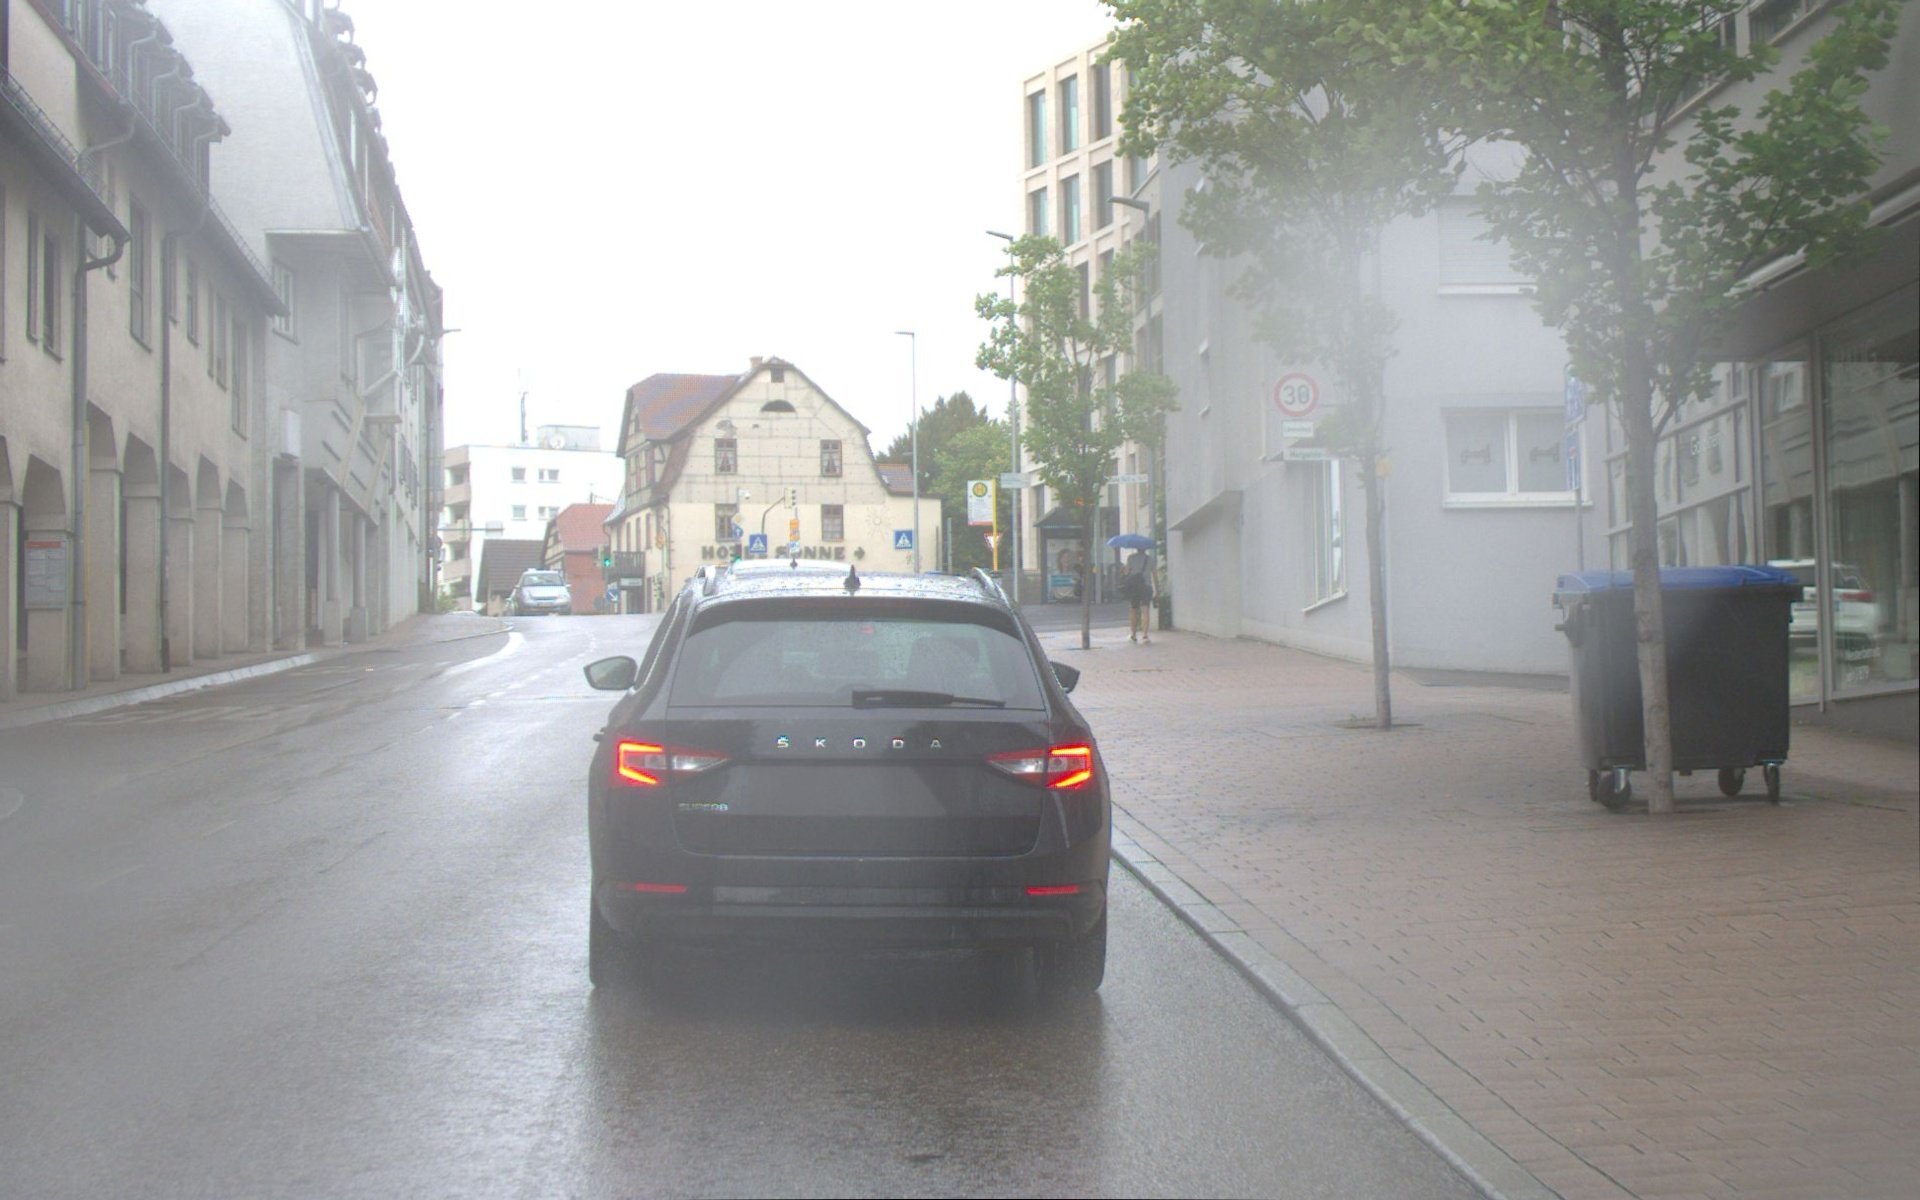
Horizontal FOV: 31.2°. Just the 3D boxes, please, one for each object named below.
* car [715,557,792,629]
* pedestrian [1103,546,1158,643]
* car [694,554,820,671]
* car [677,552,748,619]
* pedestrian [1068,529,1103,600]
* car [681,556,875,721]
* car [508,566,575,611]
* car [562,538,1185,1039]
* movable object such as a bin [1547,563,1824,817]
[{"bbox_3d":[-4.757,-0.175,78.863,1.680,1.555,4.001,-1,1,-4],"label":"car"},{"bbox_3d":[2.792,-0.087,56.433,0.736,1.537,1.038,-4,0,-1],"label":"pedestrian"},{"bbox_3d":[-2.911,0.153,48.936,1.680,1.555,4.001,-1,1,-4],"label":"car"},{"bbox_3d":[-7.637,-0.457,106.259,1.993,2.007,4.000,-1,1,-2],"label":"car"},{"bbox_3d":[3.443,-0.973,94.505,0.782,1.933,1.021,-2,0,-4],"label":"pedestrian"},{"bbox_3d":[-1.821,0.338,33.496,1.676,1.505,3.589,-1,1,-6],"label":"car"},{"bbox_3d":[-14.234,-0.410,117.021,1.677,1.505,3.588,-1,1,2],"label":"car"},{"bbox_3d":[-0.264,0.569,12.998,1.944,1.561,4.417,0,1,0],"label":"car"},{"bbox_3d":[4.029,0.479,19.198,1.234,1.330,1.172,-2,1,-2],"label":"movable object such as a bin"}]
